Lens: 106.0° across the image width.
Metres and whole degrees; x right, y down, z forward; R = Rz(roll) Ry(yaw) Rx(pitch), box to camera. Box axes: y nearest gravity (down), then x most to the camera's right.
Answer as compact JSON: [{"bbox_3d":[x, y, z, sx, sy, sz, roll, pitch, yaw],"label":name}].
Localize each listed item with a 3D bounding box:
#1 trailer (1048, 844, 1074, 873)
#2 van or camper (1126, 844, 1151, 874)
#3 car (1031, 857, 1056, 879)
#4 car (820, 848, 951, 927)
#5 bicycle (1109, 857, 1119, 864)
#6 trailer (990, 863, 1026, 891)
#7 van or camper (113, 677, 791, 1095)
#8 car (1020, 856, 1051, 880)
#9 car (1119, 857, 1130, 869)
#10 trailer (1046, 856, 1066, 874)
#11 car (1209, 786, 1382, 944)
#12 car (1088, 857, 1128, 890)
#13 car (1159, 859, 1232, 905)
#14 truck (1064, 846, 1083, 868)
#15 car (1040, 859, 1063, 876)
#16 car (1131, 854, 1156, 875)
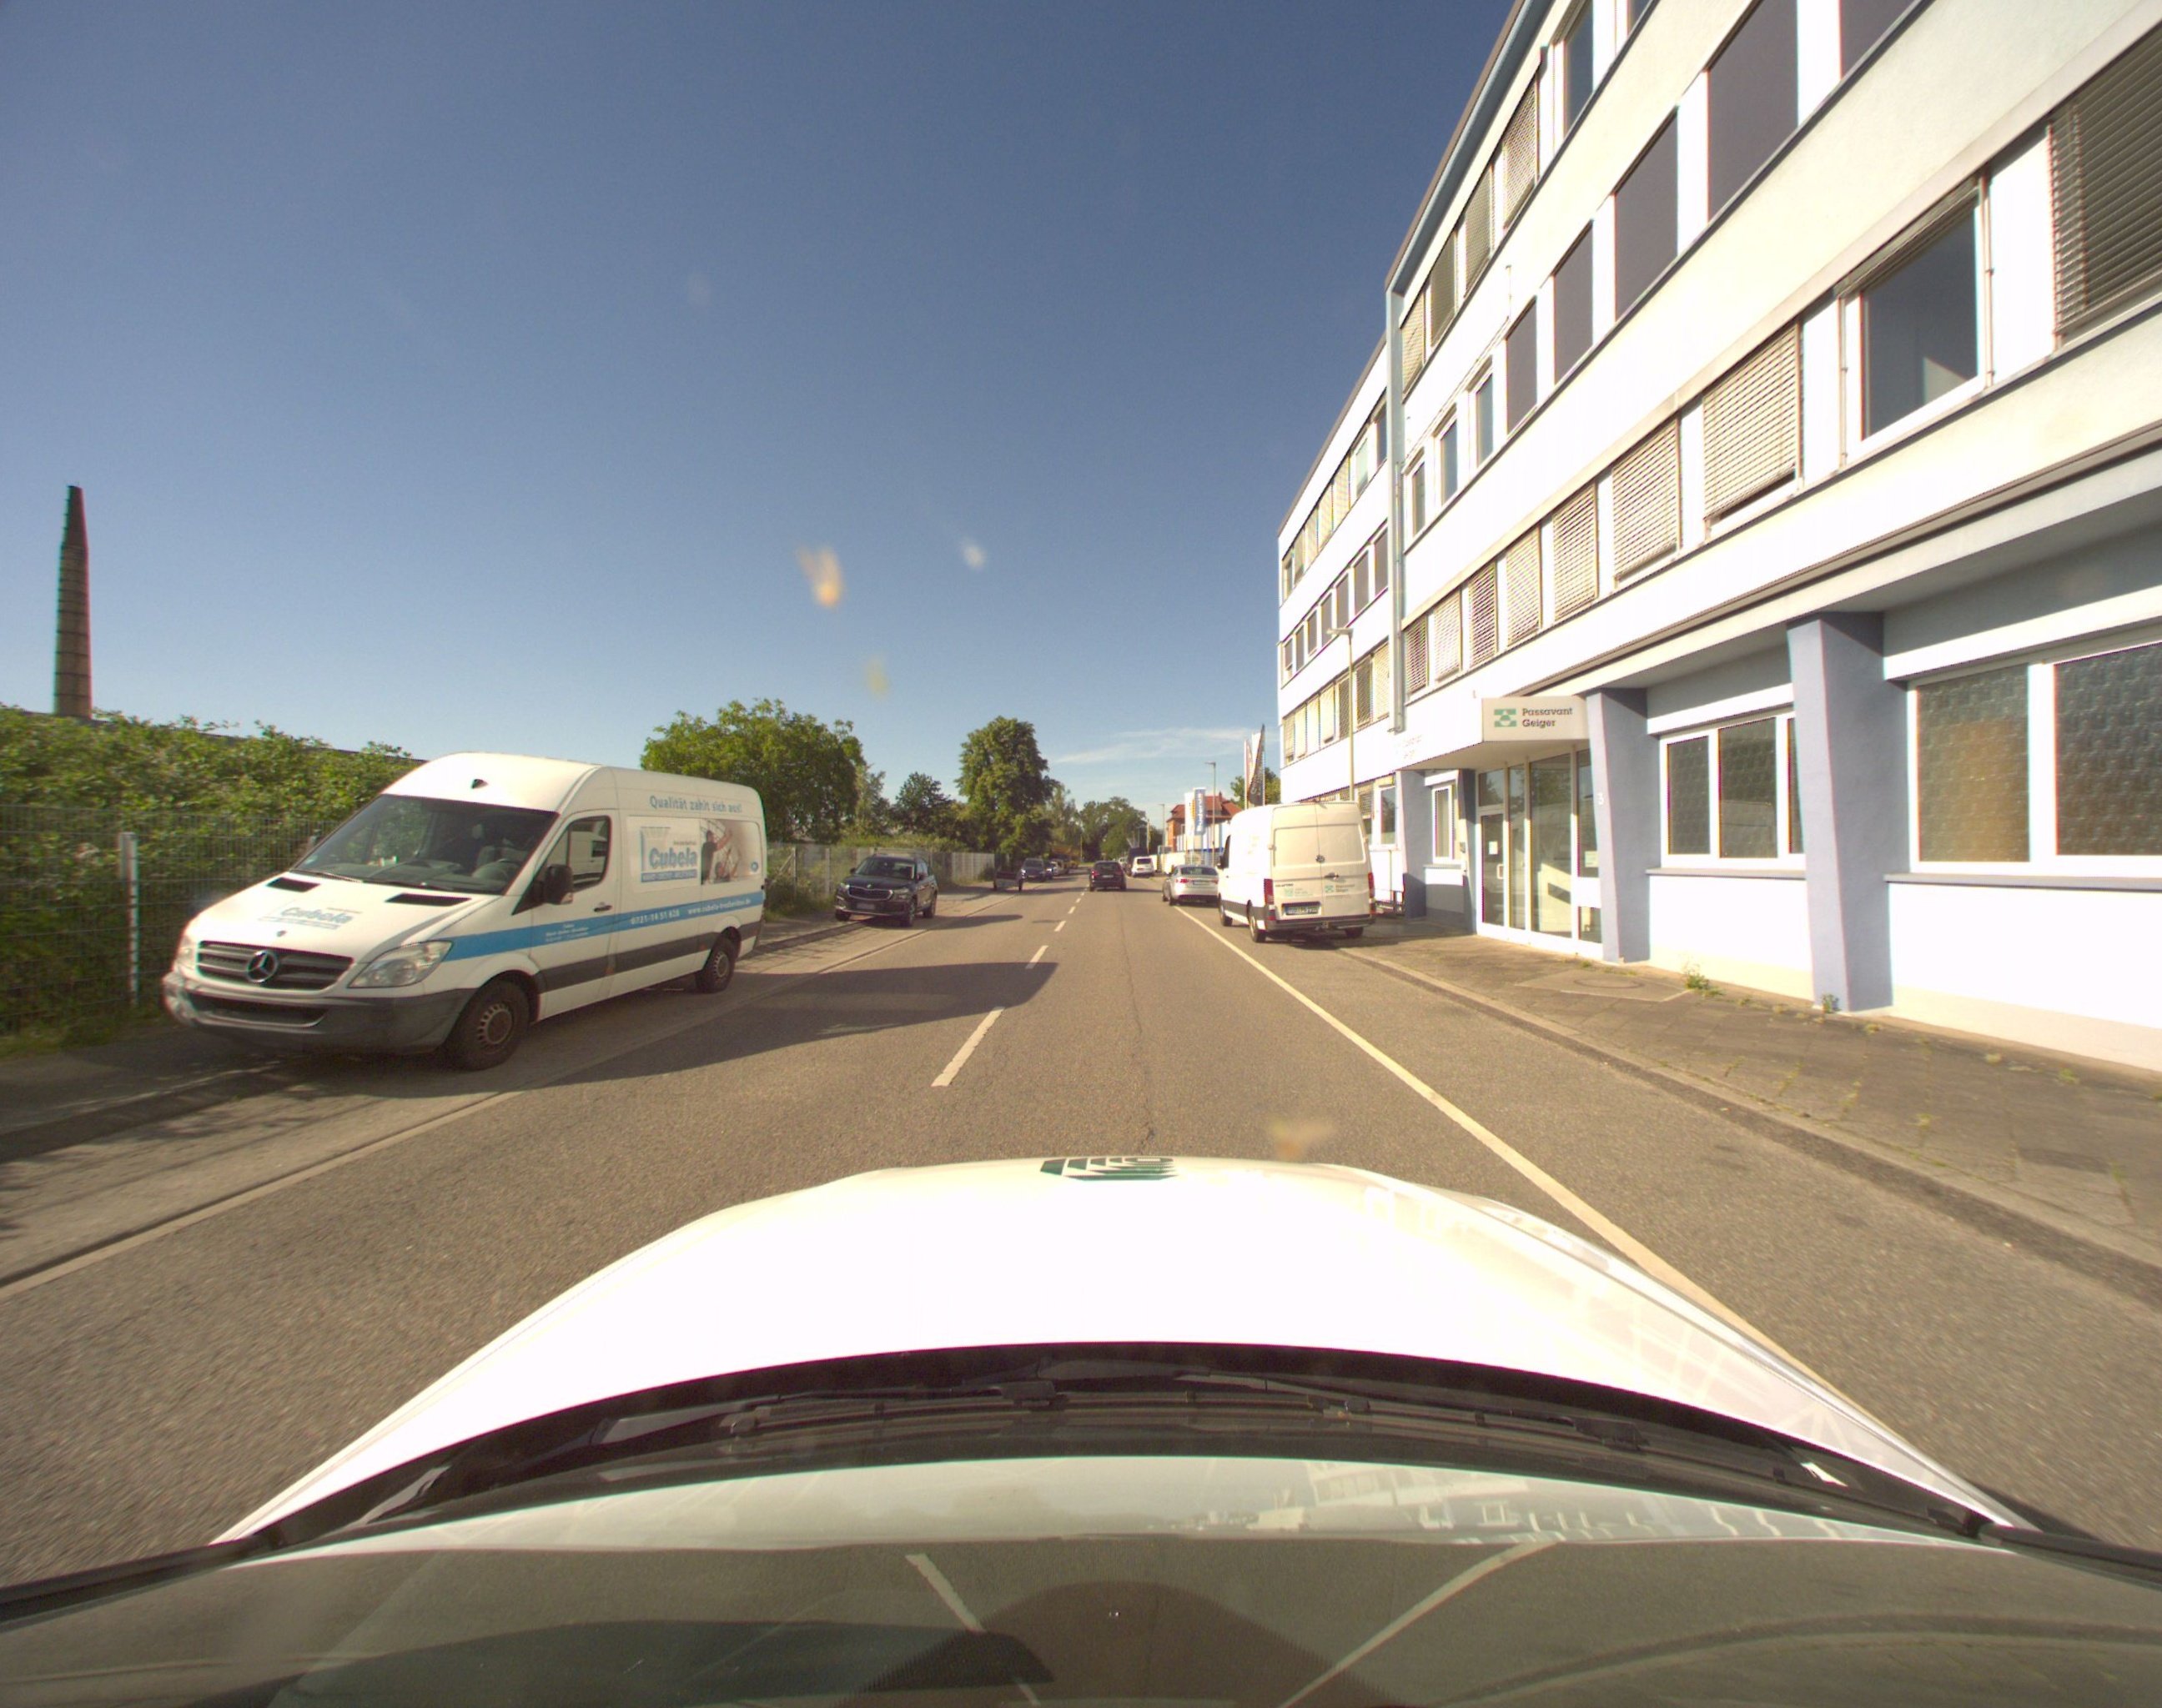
[{"bbox_3d":[-2.444,0.569,101.741,2.981,3.443,8.161,0,-1,1],"label":"trailer"},{"bbox_3d":[5.560,0.529,78.969,2.132,2.759,6.163,2,-1,2],"label":"van or camper"},{"bbox_3d":[-3.264,1.206,71.523,1.902,1.662,4.462,4,0,-1],"label":"car"},{"bbox_3d":[-4.938,0.788,21.431,2.023,1.694,5.107,4,0,1],"label":"car"},{"bbox_3d":[6.564,1.281,159.943,0.809,1.268,2.235,2,-1,-33],"label":"bicycle"},{"bbox_3d":[-3.769,1.165,42.642,1.471,1.354,3.080,2,-1,2],"label":"trailer"},{"bbox_3d":[-5.371,0.213,8.532,1.958,2.685,5.953,5,0,4],"label":"van or camper"},{"bbox_3d":[-3.349,0.993,60.678,1.784,1.731,4.807,0,0,4],"label":"car"},{"bbox_3d":[7.379,1.504,139.030,1.867,2.014,5.163,2,-1,2],"label":"car"},{"bbox_3d":[-2.747,1.209,90.824,1.986,1.942,4.417,0,-1,2],"label":"trailer"},{"bbox_3d":[4.085,0.152,16.728,1.987,2.597,6.052,-2,1,1],"label":"car"},{"bbox_3d":[1.358,0.903,39.901,1.840,1.530,4.003,0,0,3],"label":"car"},{"bbox_3d":[3.855,0.910,28.175,1.887,1.405,5.125,2,-1,2],"label":"car"},{"bbox_3d":[-1.372,0.486,145.342,2.622,3.504,8.661,6,1,2],"label":"truck"},{"bbox_3d":[-3.030,1.393,84.897,1.900,1.593,5.028,4,0,3],"label":"car"},{"bbox_3d":[5.554,0.938,72.519,1.879,1.798,5.104,2,-1,1],"label":"car"}]
